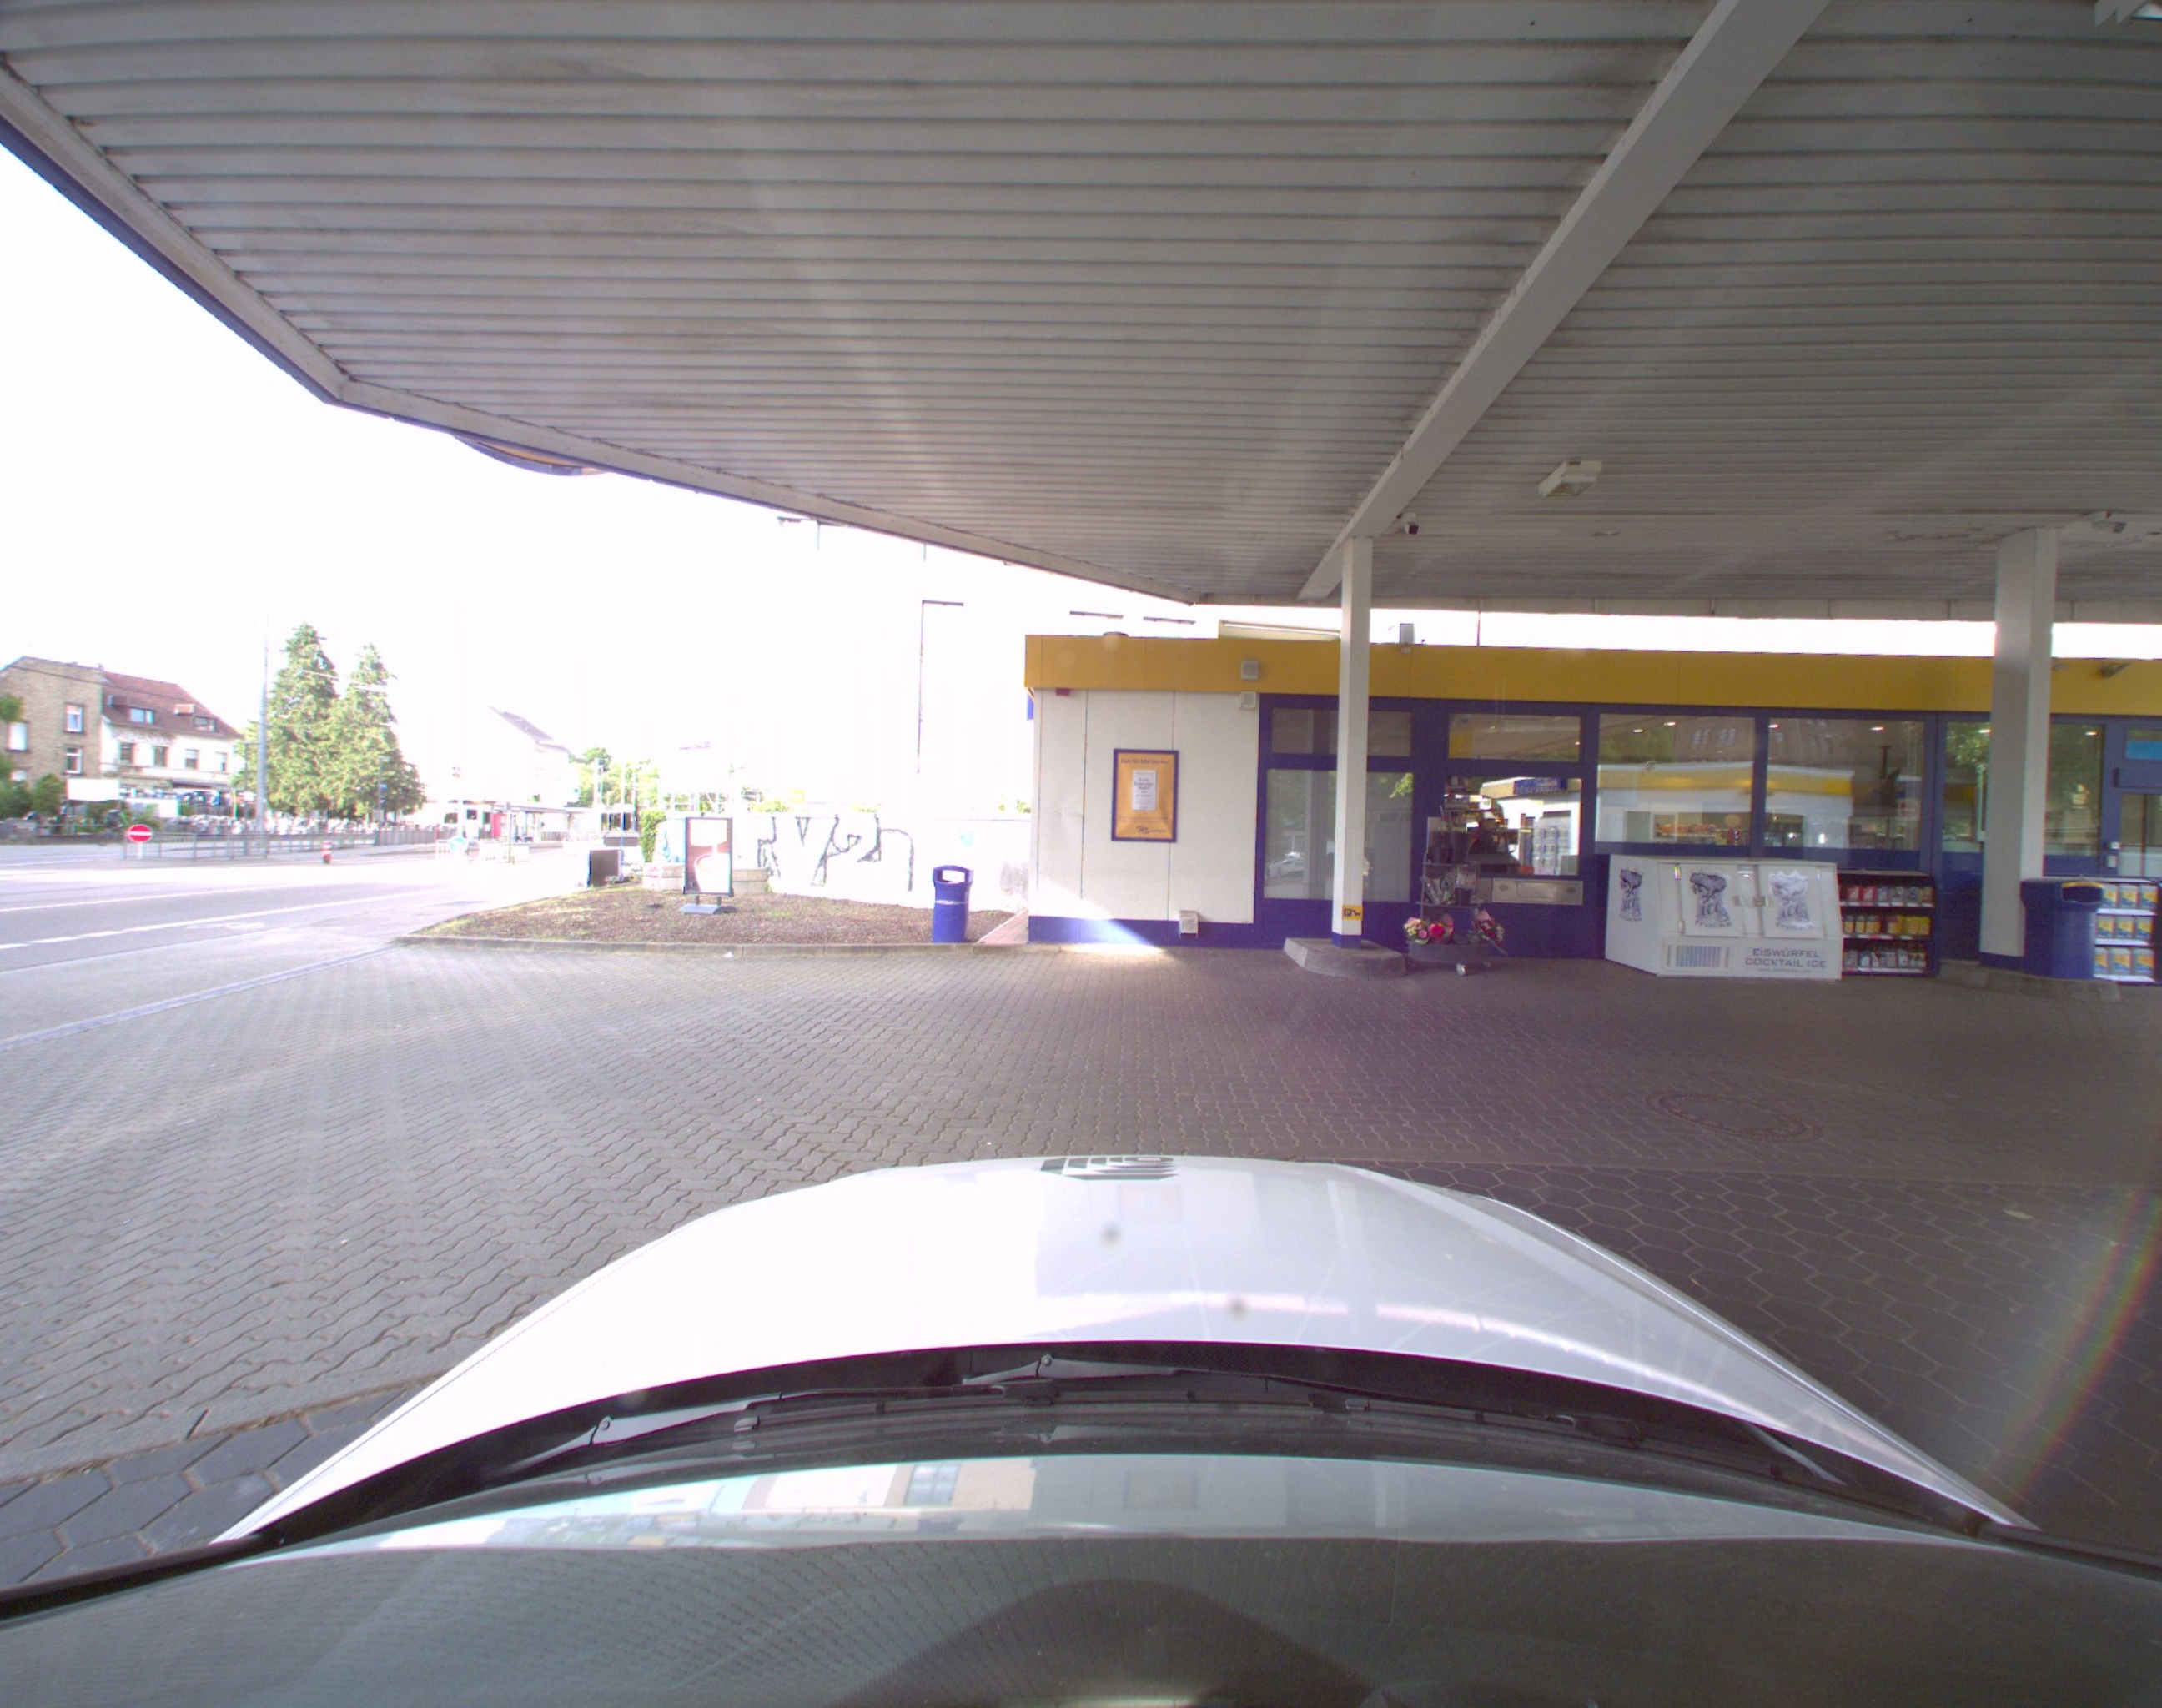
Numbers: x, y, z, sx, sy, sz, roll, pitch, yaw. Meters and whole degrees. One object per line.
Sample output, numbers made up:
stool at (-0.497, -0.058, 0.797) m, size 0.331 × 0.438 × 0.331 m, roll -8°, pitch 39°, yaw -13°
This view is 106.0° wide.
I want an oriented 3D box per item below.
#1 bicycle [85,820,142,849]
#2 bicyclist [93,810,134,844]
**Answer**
bicycle at (-42.969, -0.857, 36.204) m, size 0.752 × 1.203 × 1.810 m, roll 5°, pitch 0°, yaw -19°
bicyclist at (-42.936, -1.195, 36.151) m, size 0.752 × 1.409 × 0.915 m, roll 5°, pitch 0°, yaw -20°
